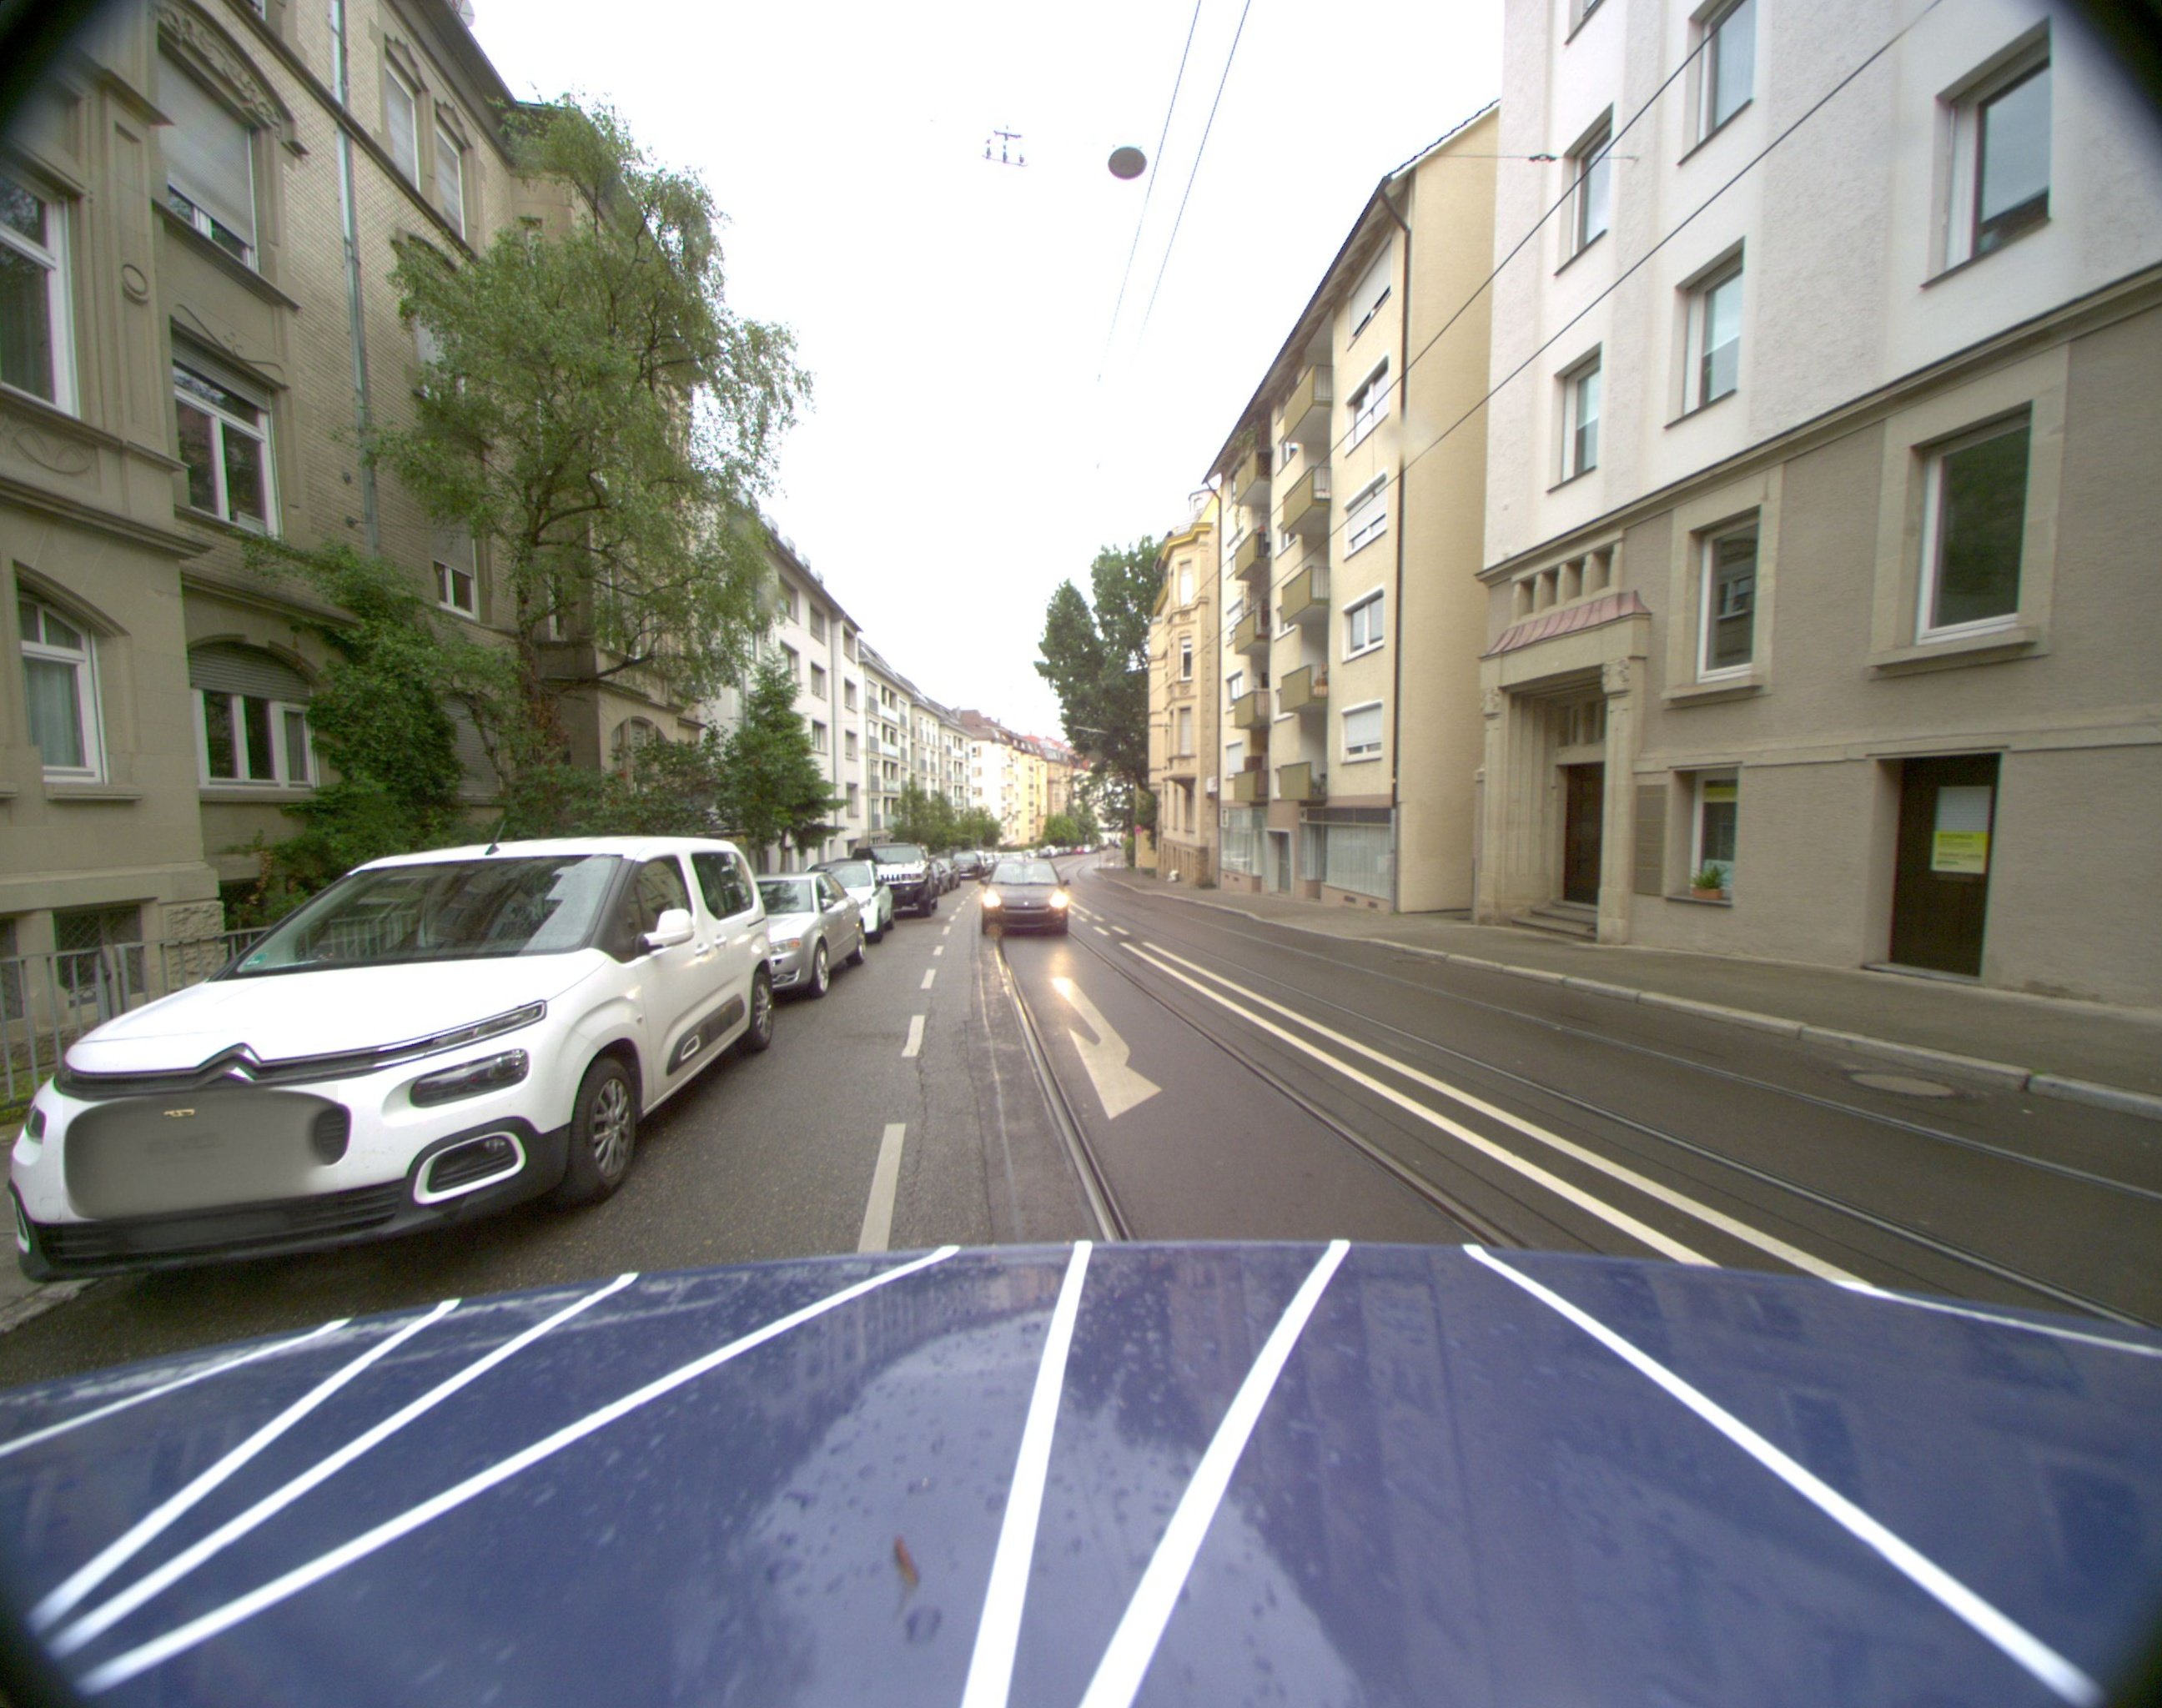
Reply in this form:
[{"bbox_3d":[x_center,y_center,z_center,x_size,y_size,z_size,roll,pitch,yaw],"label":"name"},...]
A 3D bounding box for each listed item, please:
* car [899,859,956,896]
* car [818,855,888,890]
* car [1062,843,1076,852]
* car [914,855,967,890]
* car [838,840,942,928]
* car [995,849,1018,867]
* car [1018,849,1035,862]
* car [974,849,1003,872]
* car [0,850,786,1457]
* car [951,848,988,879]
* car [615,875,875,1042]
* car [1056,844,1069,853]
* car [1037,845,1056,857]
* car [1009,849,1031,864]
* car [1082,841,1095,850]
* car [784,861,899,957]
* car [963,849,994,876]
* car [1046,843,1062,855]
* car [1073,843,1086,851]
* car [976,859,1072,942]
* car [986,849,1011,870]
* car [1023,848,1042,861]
[{"bbox_3d":[-6.220,0.905,31.108,1.683,1.330,3.881,-2,1,-3],"label":"car"},{"bbox_3d":[-10.646,0.827,35.746,1.817,1.418,4.153,-3,1,2],"label":"car"},{"bbox_3d":[-1.943,-1.002,123.886,1.658,1.360,3.637,-2,2,8],"label":"car"},{"bbox_3d":[-6.540,0.831,35.834,1.799,1.429,4.609,-2,1,-3],"label":"car"},{"bbox_3d":[-5.105,0.700,21.058,2.135,2.002,5.346,-3,1,-8],"label":"car"},{"bbox_3d":[-7.026,0.386,71.927,1.981,1.576,4.563,-1,1,-5],"label":"car"},{"bbox_3d":[-6.367,0.142,89.036,1.600,1.416,3.515,-1,1,4],"label":"car"},{"bbox_3d":[-7.362,0.495,60.765,1.837,1.647,4.685,-1,1,-1],"label":"car"},{"bbox_3d":[-3.265,0.898,4.513,1.803,1.755,4.459,-3,1,-9],"label":"car"},{"bbox_3d":[-7.141,0.587,49.085,1.948,1.785,4.818,-2,1,-4],"label":"car"},{"bbox_3d":[-3.919,1.090,9.774,1.754,1.392,4.475,-3,1,-7],"label":"car"},{"bbox_3d":[-2.857,-0.869,118.748,1.590,1.434,3.477,-2,2,6],"label":"car"},{"bbox_3d":[-4.684,-0.453,104.571,1.797,1.444,4.104,-2,2,9],"label":"car"},{"bbox_3d":[-6.525,0.230,81.518,1.862,1.507,4.789,-1,1,2],"label":"car"},{"bbox_3d":[1.443,-1.561,139.696,1.612,1.434,3.690,-1,2,13],"label":"car"},{"bbox_3d":[-4.607,0.981,15.088,1.565,1.537,3.581,-3,1,-9],"label":"car"},{"bbox_3d":[-7.343,0.564,54.795,1.783,1.785,4.469,-1,1,-3],"label":"car"},{"bbox_3d":[-3.919,-0.693,109.704,1.798,1.613,3.868,-2,2,6],"label":"car"},{"bbox_3d":[-0.242,-1.252,131.112,1.556,1.360,3.126,-1,2,13],"label":"car"},{"bbox_3d":[-1.291,0.865,15.987,1.740,1.445,3.997,-1,0,-7],"label":"car"},{"bbox_3d":[-7.148,0.447,66.323,1.837,1.618,4.662,-1,1,-2],"label":"car"},{"bbox_3d":[-5.941,0.029,93.589,1.721,1.459,4.391,-1,1,6],"label":"car"}]
